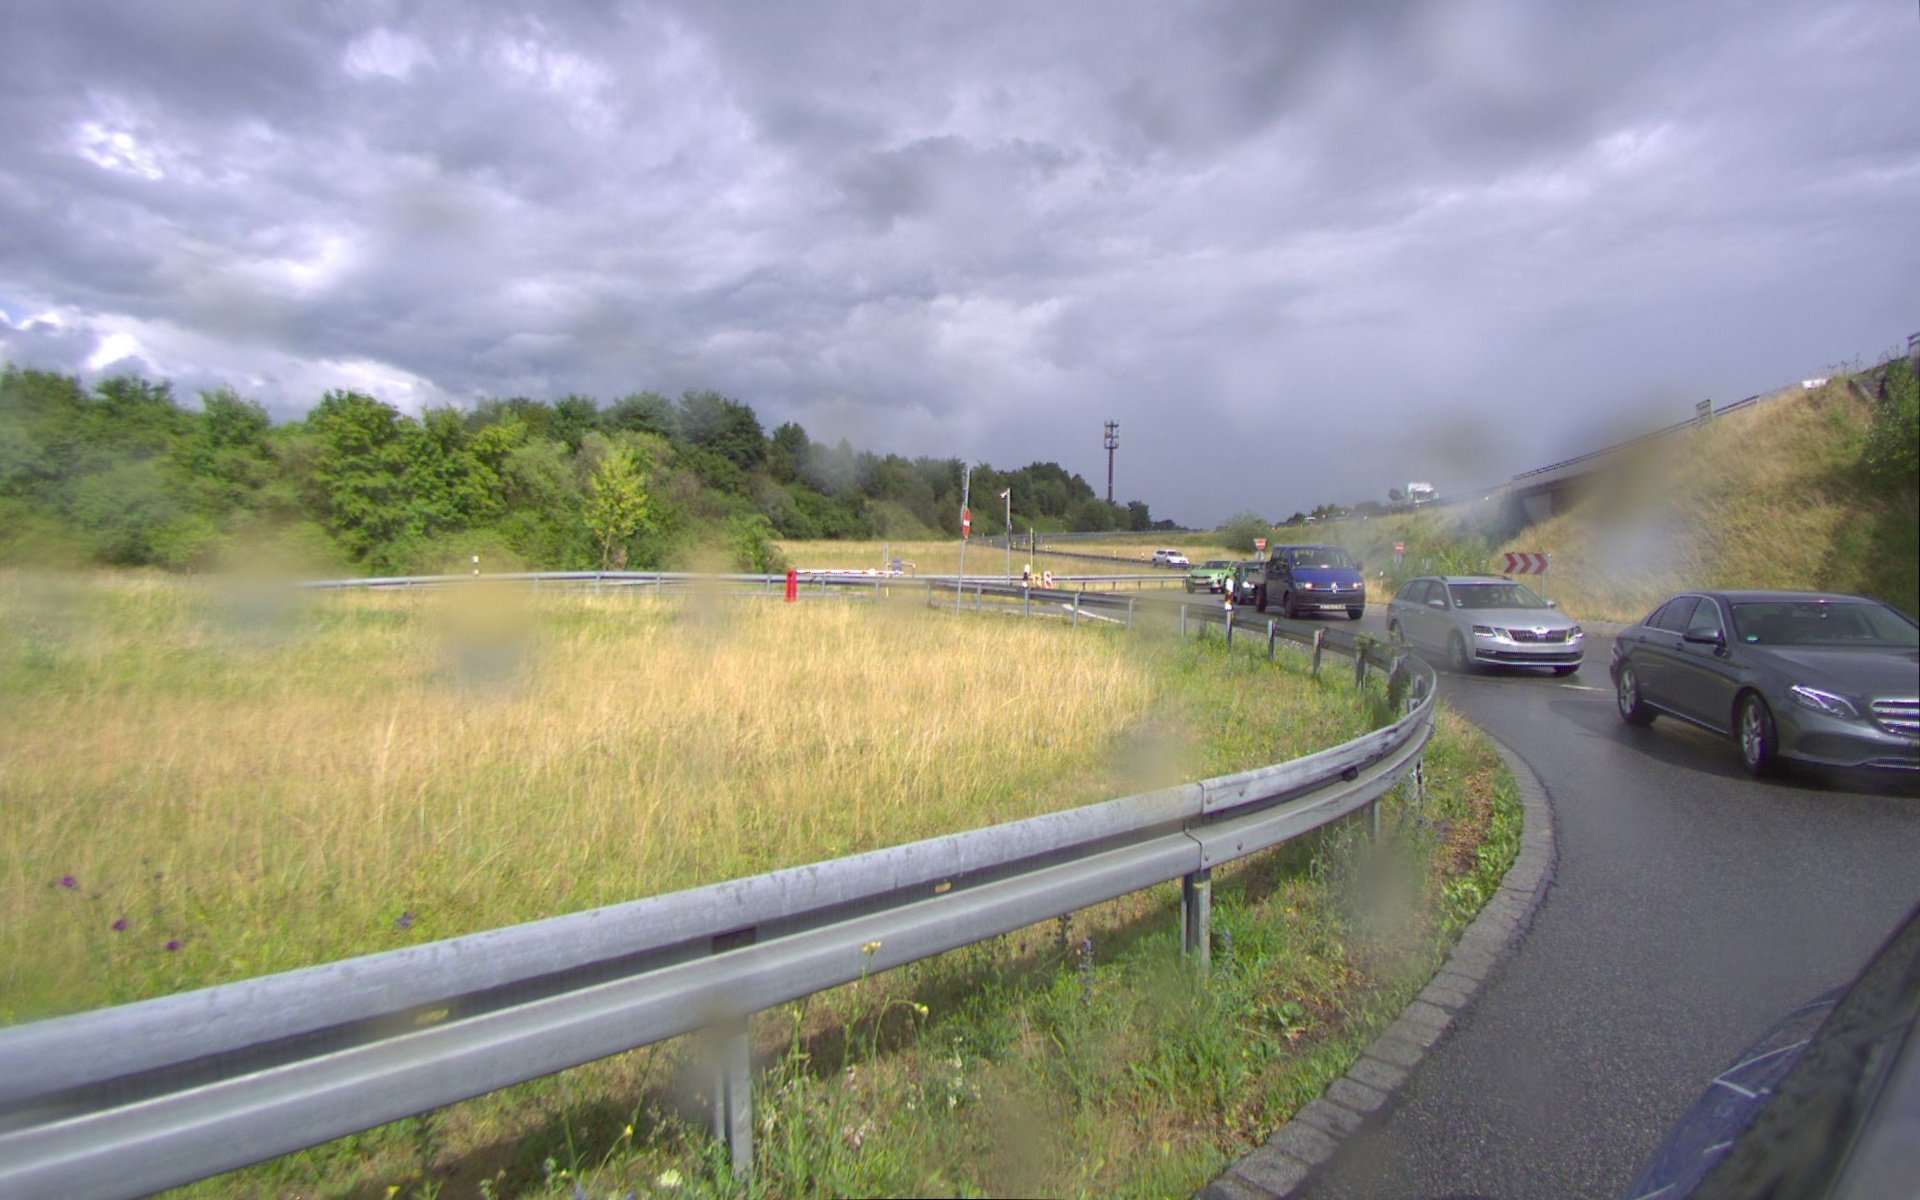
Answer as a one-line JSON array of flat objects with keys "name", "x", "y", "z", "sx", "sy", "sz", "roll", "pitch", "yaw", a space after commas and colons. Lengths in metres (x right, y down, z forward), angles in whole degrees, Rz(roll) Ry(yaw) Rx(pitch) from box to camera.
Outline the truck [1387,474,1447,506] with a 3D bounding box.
[{"name": "truck", "x": 53.855, "y": -12.869, "z": 119.554, "sx": 3.102, "sy": 3.233, "sz": 9.281, "roll": -1, "pitch": 3, "yaw": 2}]

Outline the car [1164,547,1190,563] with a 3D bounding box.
[{"name": "car", "x": 18.503, "y": -3.858, "z": 86.443, "sx": 1.681, "sy": 1.305, "sz": 3.772, "roll": 1, "pitch": 3, "yaw": 4}]

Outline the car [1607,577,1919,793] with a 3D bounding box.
[{"name": "car", "x": 7.585, "y": 0.554, "z": 9.112, "sx": 1.748, "sy": 1.408, "sz": 4.568, "roll": 1, "pitch": 3, "yaw": 17}]

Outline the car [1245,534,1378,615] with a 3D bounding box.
[{"name": "car", "x": 9.482, "y": -0.818, "z": 27.848, "sx": 1.859, "sy": 1.937, "sz": 5.682, "roll": 1, "pitch": 4, "yaw": 3}]

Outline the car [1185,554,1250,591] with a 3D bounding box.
[{"name": "car", "x": 11.376, "y": -1.238, "z": 44.524, "sx": 1.607, "sy": 1.492, "sz": 3.802, "roll": 2, "pitch": 4, "yaw": 33}]

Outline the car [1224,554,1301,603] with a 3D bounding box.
[{"name": "car", "x": 10.126, "y": -0.772, "z": 34.118, "sx": 1.627, "sy": 1.492, "sz": 3.844, "roll": 1, "pitch": 3, "yaw": 4}]

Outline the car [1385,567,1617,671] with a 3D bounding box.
[{"name": "car", "x": 8.628, "y": 0.197, "z": 16.622, "sx": 1.767, "sy": 1.415, "sz": 4.345, "roll": 0, "pitch": 3, "yaw": 5}]
